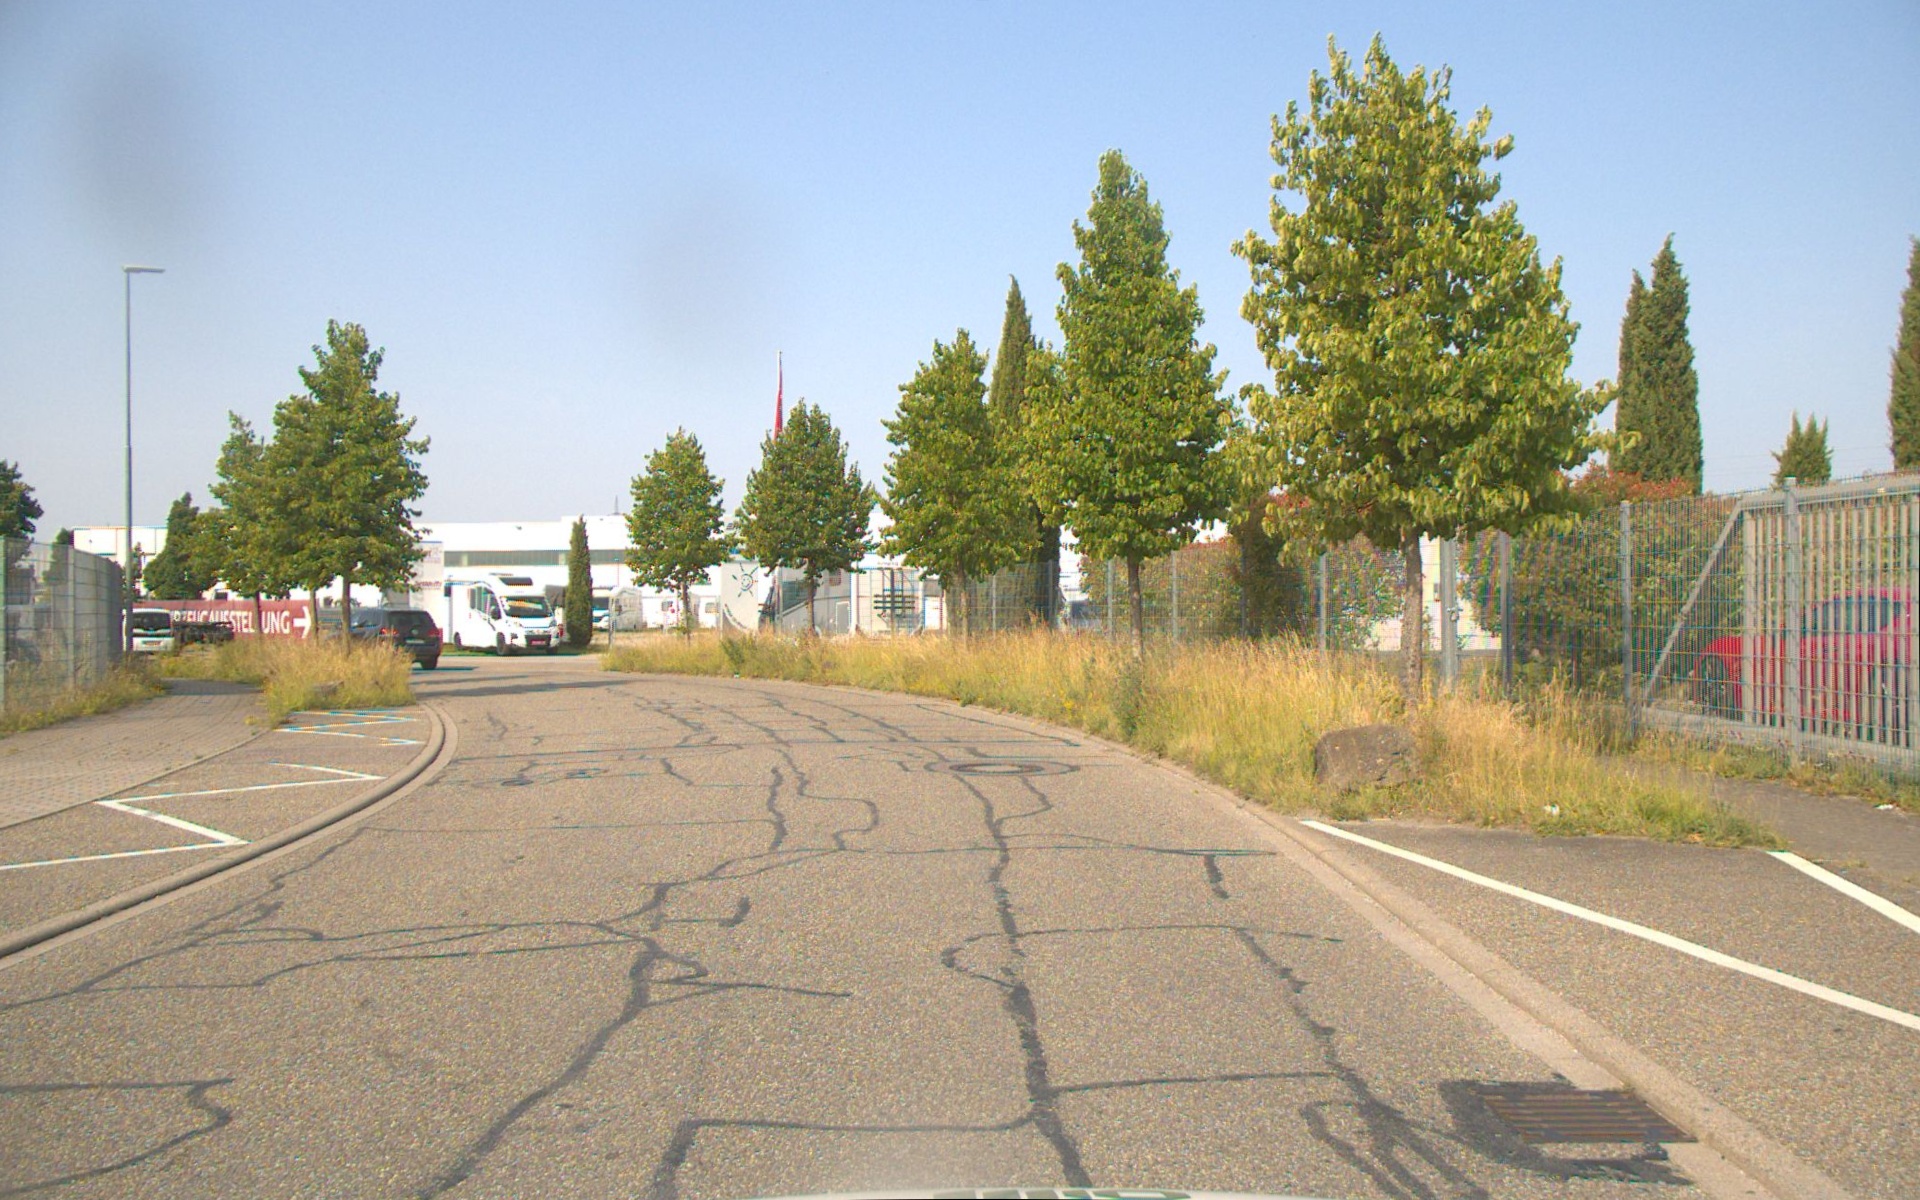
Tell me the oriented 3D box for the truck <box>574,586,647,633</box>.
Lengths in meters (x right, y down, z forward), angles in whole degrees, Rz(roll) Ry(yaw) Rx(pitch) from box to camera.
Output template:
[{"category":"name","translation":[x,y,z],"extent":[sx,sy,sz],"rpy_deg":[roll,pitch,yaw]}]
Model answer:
[{"category":"truck","translation":[-19.908,0.525,94.558],"extent":[2.400,2.514,8.002],"rpy_deg":[0,0,1]}]

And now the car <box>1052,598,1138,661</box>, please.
[{"category":"car","translation":[3.730,0.786,46.191],"extent":[1.689,1.672,3.995],"rpy_deg":[1,0,-6]}]

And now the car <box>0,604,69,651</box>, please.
[{"category":"car","translation":[-43.452,1.265,77.613],"extent":[1.811,2.012,3.935],"rpy_deg":[-5,3,-44]}]

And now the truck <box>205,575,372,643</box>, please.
[{"category":"truck","translation":[-40.809,0.542,100.661],"extent":[9.098,4.042,2.457],"rpy_deg":[0,0,-3]}]

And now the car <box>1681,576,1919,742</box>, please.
[{"category":"car","translation":[8.780,0.482,15.353],"extent":[1.843,1.381,4.770],"rpy_deg":[-1,0,-4]}]

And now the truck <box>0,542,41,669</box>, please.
[{"category":"truck","translation":[-34.793,0.262,56.687],"extent":[2.615,3.998,12.707],"rpy_deg":[1,-1,-44]}]

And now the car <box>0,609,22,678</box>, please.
[{"category":"car","translation":[-21.856,0.922,34.713],"extent":[1.568,1.479,3.483],"rpy_deg":[-1,-1,42]}]

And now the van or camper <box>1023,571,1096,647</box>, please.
[{"category":"van or camper","translation":[3.968,0.407,67.060],"extent":[2.274,2.914,6.606],"rpy_deg":[-1,-1,-2]}]

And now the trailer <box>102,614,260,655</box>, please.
[{"category":"trailer","translation":[-31.030,1.342,65.615],"extent":[9.294,1.412,2.614],"rpy_deg":[-1,2,45]}]

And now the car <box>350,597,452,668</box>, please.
[{"category":"car","translation":[-15.726,0.874,46.452],"extent":[1.973,1.836,3.960],"rpy_deg":[-1,1,-30]}]

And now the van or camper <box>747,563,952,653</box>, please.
[{"category":"van or camper","translation":[-3.971,0.282,58.962],"extent":[7.119,3.085,2.581],"rpy_deg":[-1,-1,-7]}]

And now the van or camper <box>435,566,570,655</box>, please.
[{"category":"van or camper","translation":[-16.551,0.369,59.518],"extent":[2.314,2.995,6.877],"rpy_deg":[0,0,-37]}]

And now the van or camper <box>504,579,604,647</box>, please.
[{"category":"van or camper","translation":[-16.444,0.489,67.404],"extent":[2.432,2.603,6.625],"rpy_deg":[0,0,0]}]

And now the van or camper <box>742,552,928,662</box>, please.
[{"category":"van or camper","translation":[-3.723,0.222,47.368],"extent":[2.325,2.898,7.264],"rpy_deg":[0,-1,-31]}]

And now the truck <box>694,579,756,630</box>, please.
[{"category":"truck","translation":[-13.753,0.258,97.221],"extent":[2.400,2.876,8.002],"rpy_deg":[0,0,1]}]

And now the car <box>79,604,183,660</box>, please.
[{"category":"car","translation":[-30.056,1.152,59.913],"extent":[4.388,1.933,1.988],"rpy_deg":[-1,0,43]}]

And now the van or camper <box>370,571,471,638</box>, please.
[{"category":"van or camper","translation":[-26.644,0.195,82.060],"extent":[2.607,3.138,6.796],"rpy_deg":[0,0,2]}]

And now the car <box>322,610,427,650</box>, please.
[{"category":"car","translation":[-23.560,1.181,66.723],"extent":[2.119,1.502,4.003],"rpy_deg":[-1,0,15]}]

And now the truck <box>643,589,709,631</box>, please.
[{"category":"truck","translation":[-16.539,0.569,96.799],"extent":[2.400,2.305,8.002],"rpy_deg":[0,0,1]}]
